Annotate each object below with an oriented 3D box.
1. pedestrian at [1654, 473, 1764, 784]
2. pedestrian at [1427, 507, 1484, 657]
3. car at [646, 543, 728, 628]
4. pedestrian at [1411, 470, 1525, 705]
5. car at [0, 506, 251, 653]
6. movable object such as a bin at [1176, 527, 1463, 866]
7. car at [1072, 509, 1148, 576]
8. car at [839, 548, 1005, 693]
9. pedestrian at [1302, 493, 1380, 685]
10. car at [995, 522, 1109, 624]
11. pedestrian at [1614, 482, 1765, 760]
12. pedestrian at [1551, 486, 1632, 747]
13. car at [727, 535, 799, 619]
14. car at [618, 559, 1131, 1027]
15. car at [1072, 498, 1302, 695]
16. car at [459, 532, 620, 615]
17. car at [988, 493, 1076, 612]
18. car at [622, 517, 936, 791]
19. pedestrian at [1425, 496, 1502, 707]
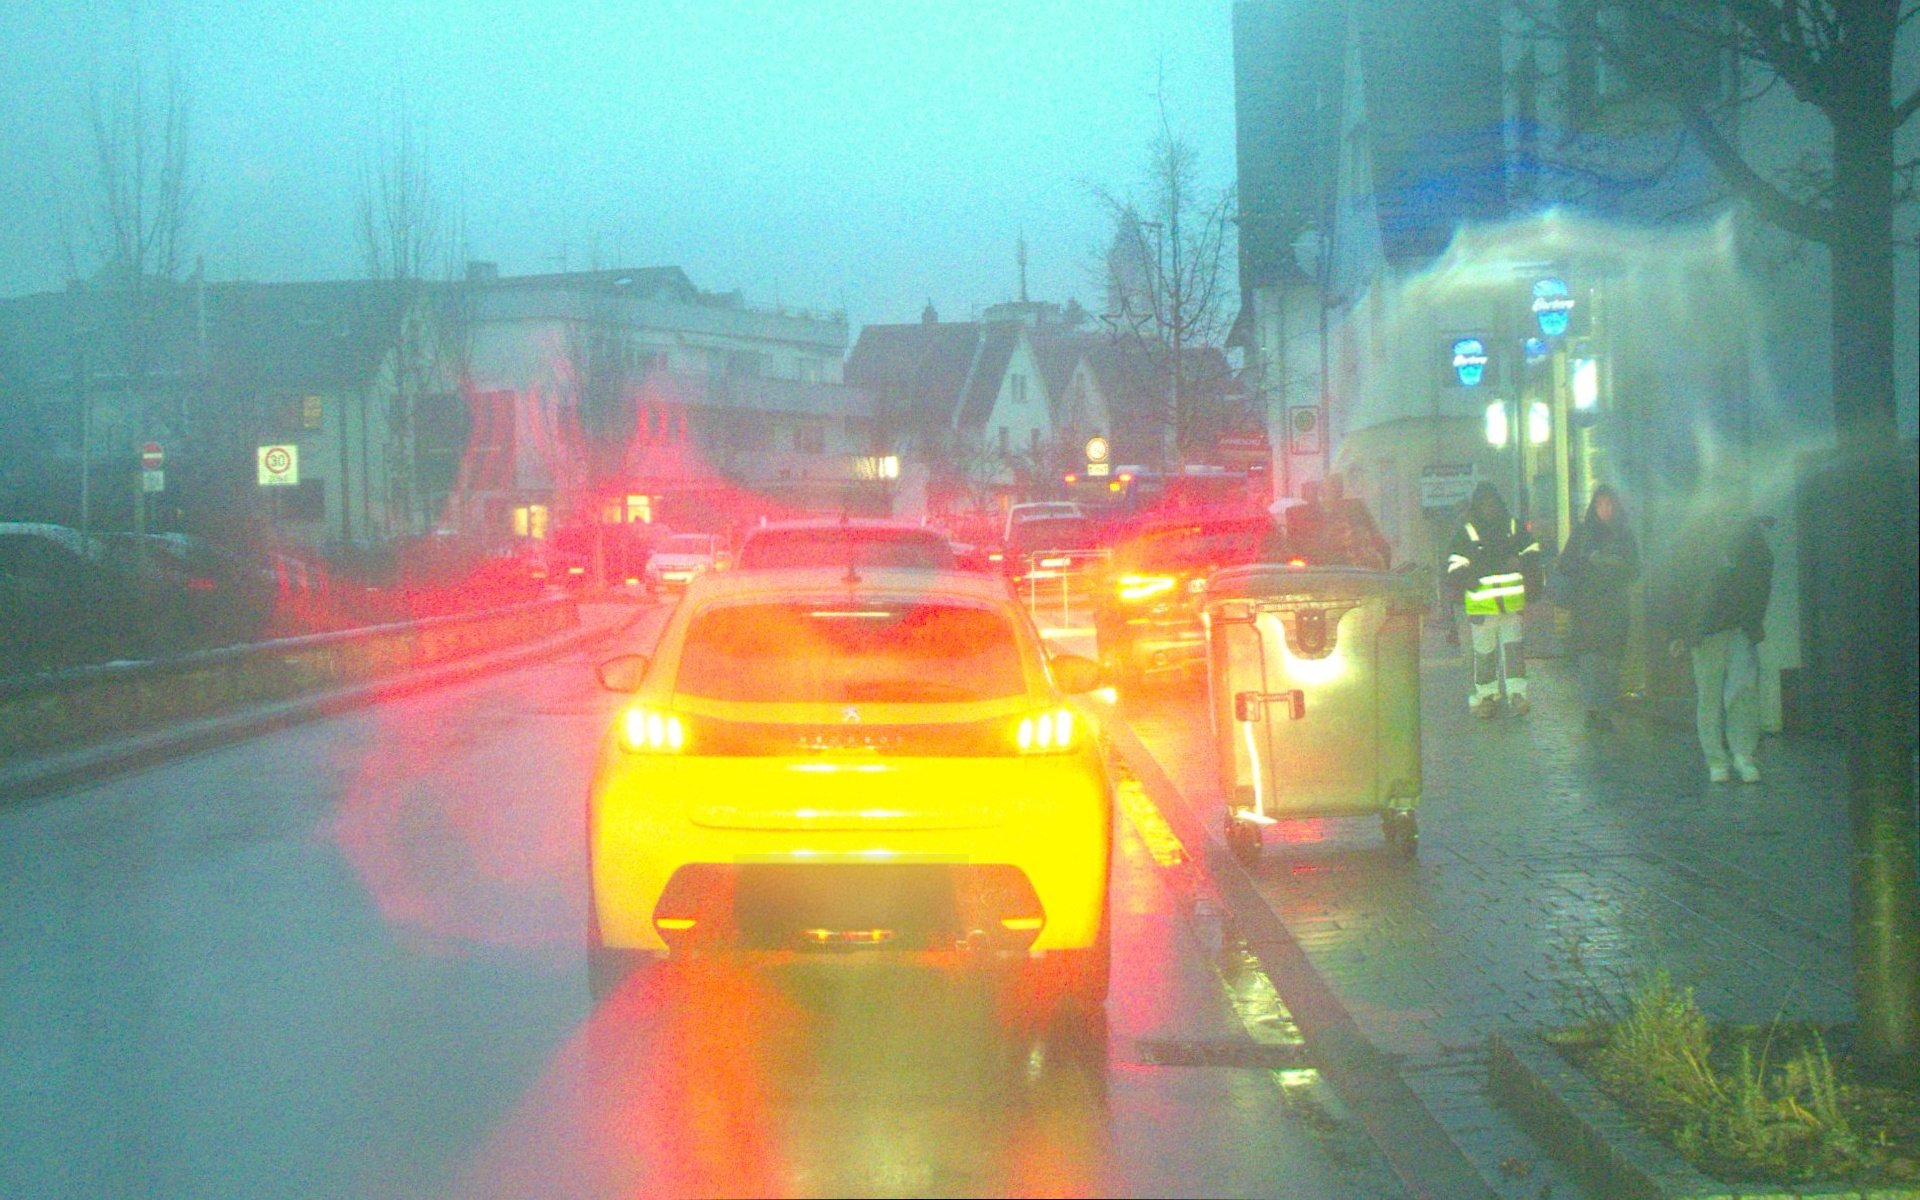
[{"bbox_3d":[4.077,0.159,18.750,0.529,1.647,0.953,0,-1,9],"label":"pedestrian"},{"bbox_3d":[5.747,-0.202,39.857,0.618,1.721,0.501,0,-1,11],"label":"pedestrian"},{"bbox_3d":[-6.888,-0.349,87.014,1.919,2.021,3.975,1,-1,-3],"label":"car"},{"bbox_3d":[3.810,-0.108,25.749,0.712,1.709,1.034,-2,1,13],"label":"pedestrian"},{"bbox_3d":[-10.691,-0.238,39.771,4.625,1.662,2.000,0,0,-3],"label":"car"},{"bbox_3d":[1.637,0.416,15.944,1.129,1.415,1.417,-4,2,2],"label":"movable object such as a bin"},{"bbox_3d":[4.515,-1.715,103.148,1.871,1.828,4.442,0,-1,8],"label":"car"},{"bbox_3d":[-0.379,0.166,33.985,1.541,1.327,3.311,1,1,-1],"label":"car"},{"bbox_3d":[3.434,-0.100,31.029,0.573,1.694,0.653,-3,0,1],"label":"pedestrian"},{"bbox_3d":[1.684,-0.503,64.225,1.997,1.858,4.083,0,0,0],"label":"car"},{"bbox_3d":[4.551,0.130,21.512,0.747,1.673,1.052,-2,0,6],"label":"pedestrian"},{"bbox_3d":[4.414,0.103,24.047,0.529,1.794,0.864,0,1,9],"label":"pedestrian"},{"bbox_3d":[-5.418,-0.614,94.959,1.919,2.208,3.975,1,-1,-3],"label":"car"},{"bbox_3d":[-0.280,0.578,12.102,1.563,1.408,3.018,1,1,-1],"label":"car"},{"bbox_3d":[2.053,-0.059,32.229,1.735,1.686,4.386,-1,1,-1],"label":"car"},{"bbox_3d":[-11.481,-0.698,93.715,4.383,2.159,1.995,-1,-2,44],"label":"car"},{"bbox_3d":[1.576,-1.024,76.603,1.870,2.461,4.443,1,-1,1],"label":"car"},{"bbox_3d":[-1.098,0.289,22.410,1.766,1.623,3.586,1,1,1],"label":"car"},{"bbox_3d":[3.995,0.001,27.236,0.480,1.625,1.018,-2,1,13],"label":"pedestrian"}]
